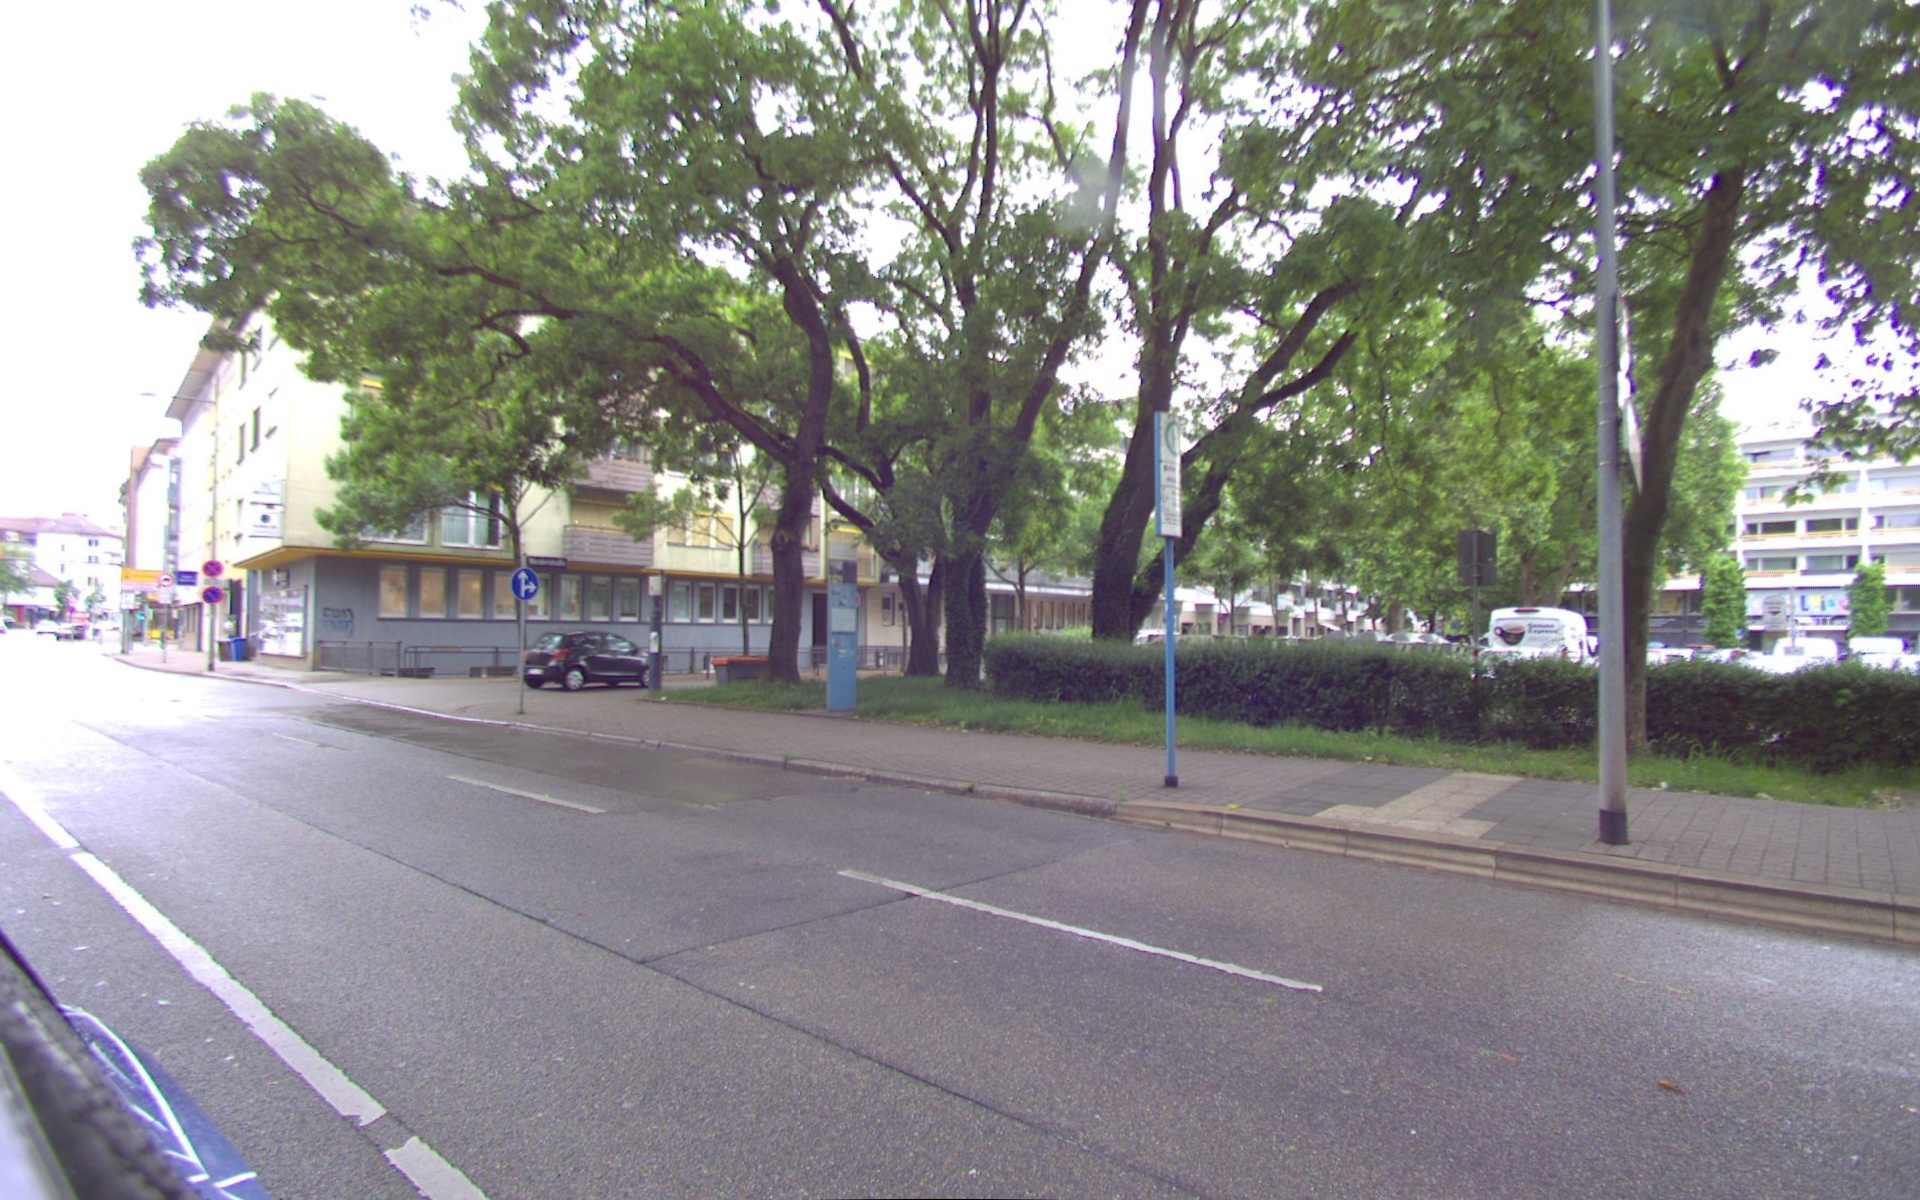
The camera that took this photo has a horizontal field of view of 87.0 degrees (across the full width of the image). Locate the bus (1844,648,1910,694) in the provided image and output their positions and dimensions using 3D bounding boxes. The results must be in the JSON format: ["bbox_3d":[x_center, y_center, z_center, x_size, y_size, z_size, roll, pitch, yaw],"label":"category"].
[{"bbox_3d":[33.149,2.554,36.655,1.604,1.551,3.385,-1,-3,40],"label":"bus"}]

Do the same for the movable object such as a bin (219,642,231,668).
[{"bbox_3d":[-30.243,2.266,41.654,0.333,1.037,0.354,3,-4,-42],"label":"movable object such as a bin"}]

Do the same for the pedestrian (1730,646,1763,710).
[{"bbox_3d":[15.473,1.530,19.922,0.465,1.222,0.433,-1,0,34],"label":"pedestrian"}]

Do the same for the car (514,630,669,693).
[{"bbox_3d":[-9.432,1.586,26.151,1.567,1.500,3.528,-1,-4,31],"label":"car"}]

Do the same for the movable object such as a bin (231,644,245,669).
[{"bbox_3d":[-29.880,2.337,41.866,0.409,1.037,0.354,3,-4,-42],"label":"movable object such as a bin"}]

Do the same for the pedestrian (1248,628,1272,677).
[{"bbox_3d":[7.606,1.327,25.652,0.484,1.222,0.433,-1,0,34],"label":"pedestrian"}]

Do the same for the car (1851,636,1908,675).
[{"bbox_3d":[40.340,2.401,44.457,1.639,1.536,3.161,-1,0,38],"label":"car"}]

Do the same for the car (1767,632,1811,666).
[{"bbox_3d":[41.975,2.476,51.300,1.639,1.536,3.161,-1,0,38],"label":"car"}]

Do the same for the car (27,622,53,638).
[{"bbox_3d":[-101.542,3.321,111.665,4.002,1.670,1.842,-2,-4,45],"label":"car"}]

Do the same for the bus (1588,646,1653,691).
[{"bbox_3d":[24.148,2.473,36.969,1.604,1.551,3.385,-1,-3,40],"label":"bus"}]

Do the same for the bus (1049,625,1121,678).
[{"bbox_3d":[4.829,1.968,38.680,1.703,1.939,3.697,0,-3,24],"label":"bus"}]

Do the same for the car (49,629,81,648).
[{"bbox_3d":[-82.274,3.561,93.016,4.002,1.730,1.863,-2,-4,45],"label":"car"}]

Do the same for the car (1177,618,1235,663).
[{"bbox_3d":[11.641,1.932,47.689,1.988,2.029,3.967,0,-3,24],"label":"car"}]

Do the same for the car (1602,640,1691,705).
[{"bbox_3d":[16.727,1.732,24.615,1.391,1.446,3.227,-2,-4,41],"label":"car"}]

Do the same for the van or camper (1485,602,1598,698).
[{"bbox_3d":[16.839,1.427,29.206,2.097,2.556,4.367,-1,-3,40],"label":"van or camper"}]

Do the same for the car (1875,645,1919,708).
[{"bbox_3d":[23.410,1.864,24.802,1.391,1.446,3.227,-2,-4,41],"label":"car"}]

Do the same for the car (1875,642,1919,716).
[{"bbox_3d":[19.923,1.621,20.939,1.391,1.446,3.227,-2,-4,41],"label":"car"}]

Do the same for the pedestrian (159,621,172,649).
[{"bbox_3d":[-54.005,2.363,68.752,0.586,1.858,0.565,3,-4,-42],"label":"pedestrian"}]

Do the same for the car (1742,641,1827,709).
[{"bbox_3d":[19.232,1.714,23.561,1.391,1.446,3.227,-2,-4,41],"label":"car"}]

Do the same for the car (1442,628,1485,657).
[{"bbox_3d":[27.191,2.267,54.601,1.428,1.439,2.926,-2,-1,40],"label":"car"}]

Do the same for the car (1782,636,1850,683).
[{"bbox_3d":[28.167,1.945,33.349,1.604,1.439,3.275,-1,-3,40],"label":"car"}]
